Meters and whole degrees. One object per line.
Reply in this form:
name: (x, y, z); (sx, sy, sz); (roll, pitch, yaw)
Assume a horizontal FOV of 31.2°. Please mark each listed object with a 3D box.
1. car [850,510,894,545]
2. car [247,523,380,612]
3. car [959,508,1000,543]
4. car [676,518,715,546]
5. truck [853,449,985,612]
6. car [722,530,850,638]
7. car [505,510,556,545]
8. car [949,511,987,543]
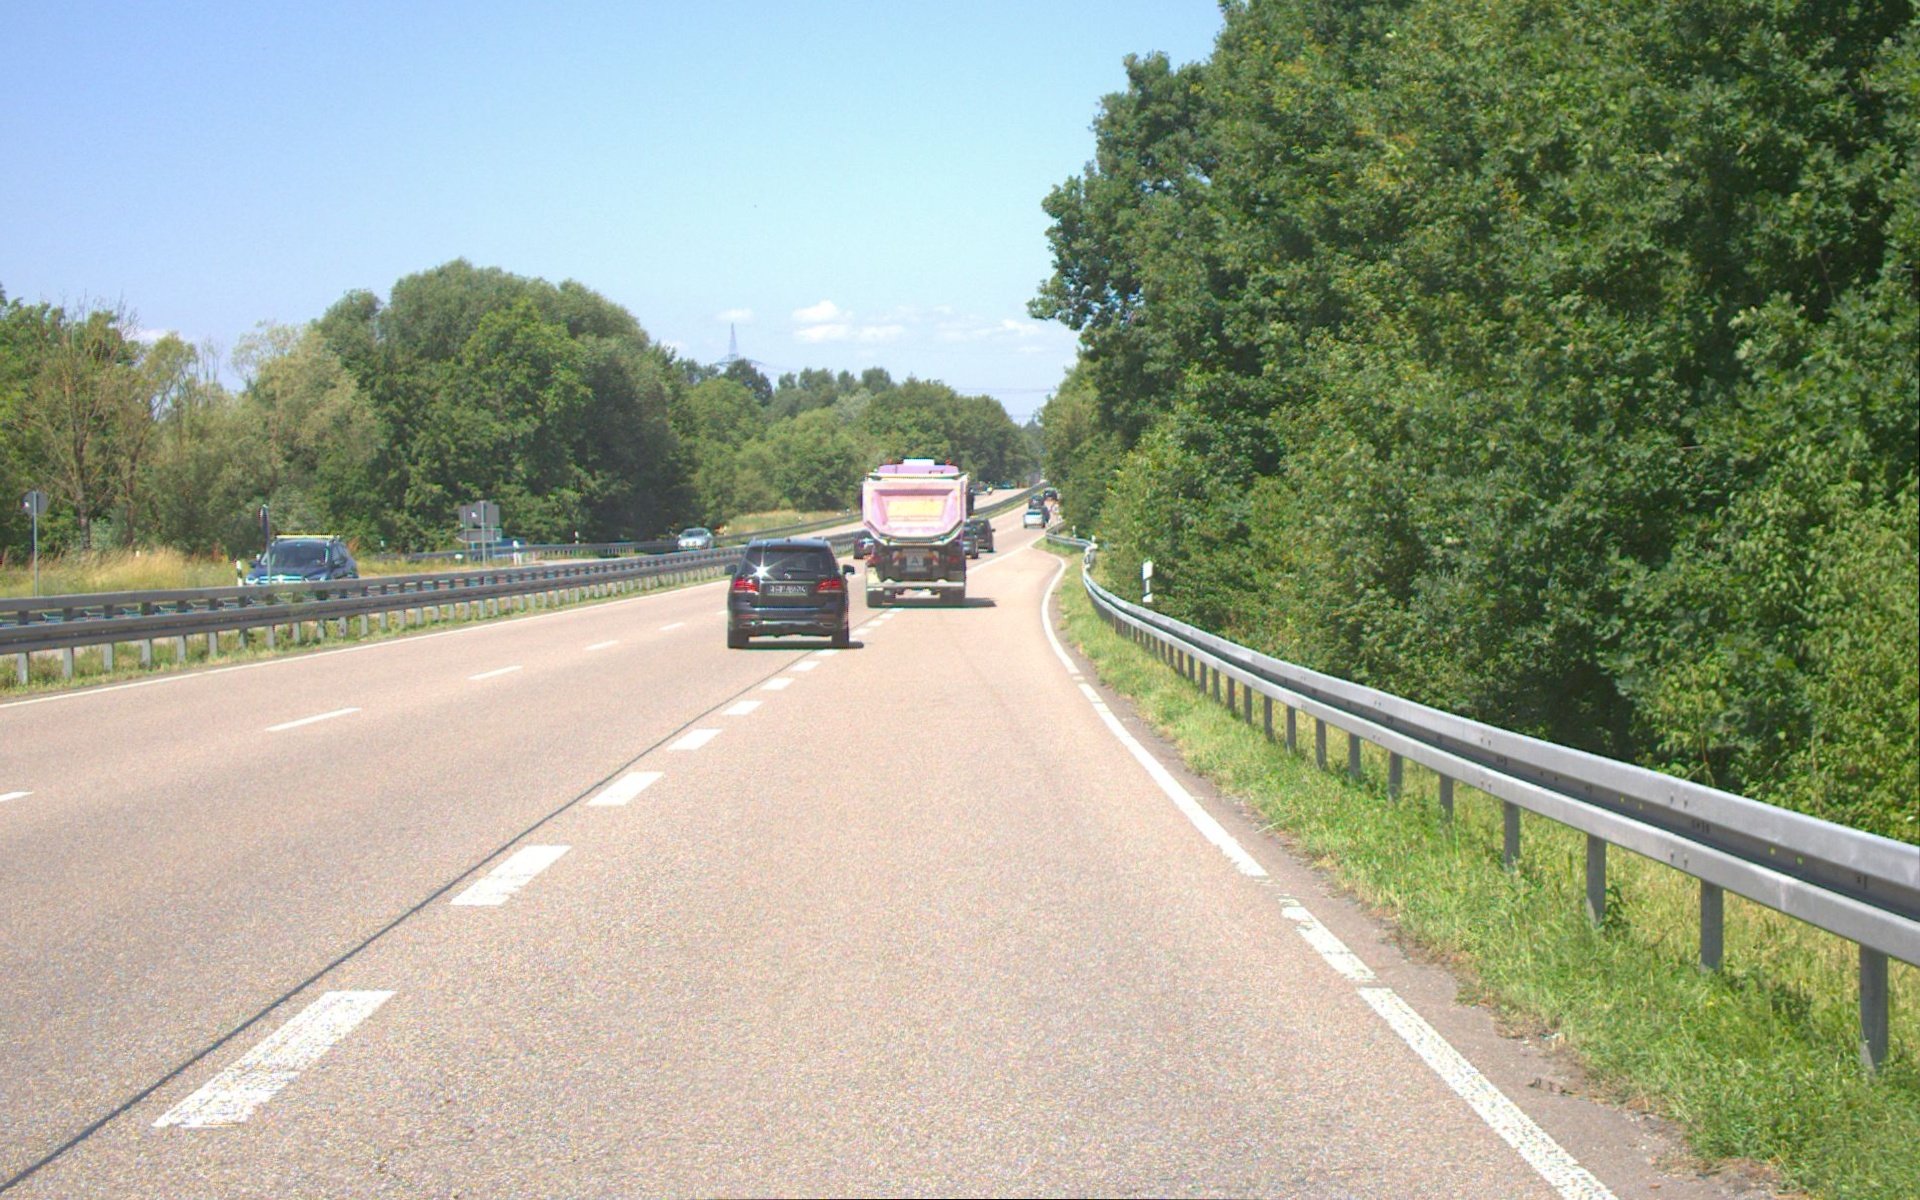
car: (-4.167, -3.431, 163.310); (1.857, 1.665, 4.000); (0, 1, 2)
car: (-13.699, -0.709, 73.087); (1.863, 1.824, 4.660); (0, 1, 1)
car: (0.966, -3.582, 166.386); (1.857, 1.665, 4.000); (0, 1, 2)
car: (-15.591, -4.026, 203.059); (1.724, 1.639, 4.943); (0, 2, 2)
truck: (-0.955, -1.942, 89.211); (2.720, 3.916, 12.371); (0, 2, 2)
car: (-2.750, -0.284, 55.138); (1.857, 1.665, 4.000); (0, 1, 0)
car: (-18.298, -3.075, 146.618); (1.918, 1.484, 4.001); (0, 1, -3)
car: (0.440, -3.873, 183.228); (1.857, 1.665, 4.000); (0, 1, 2)
